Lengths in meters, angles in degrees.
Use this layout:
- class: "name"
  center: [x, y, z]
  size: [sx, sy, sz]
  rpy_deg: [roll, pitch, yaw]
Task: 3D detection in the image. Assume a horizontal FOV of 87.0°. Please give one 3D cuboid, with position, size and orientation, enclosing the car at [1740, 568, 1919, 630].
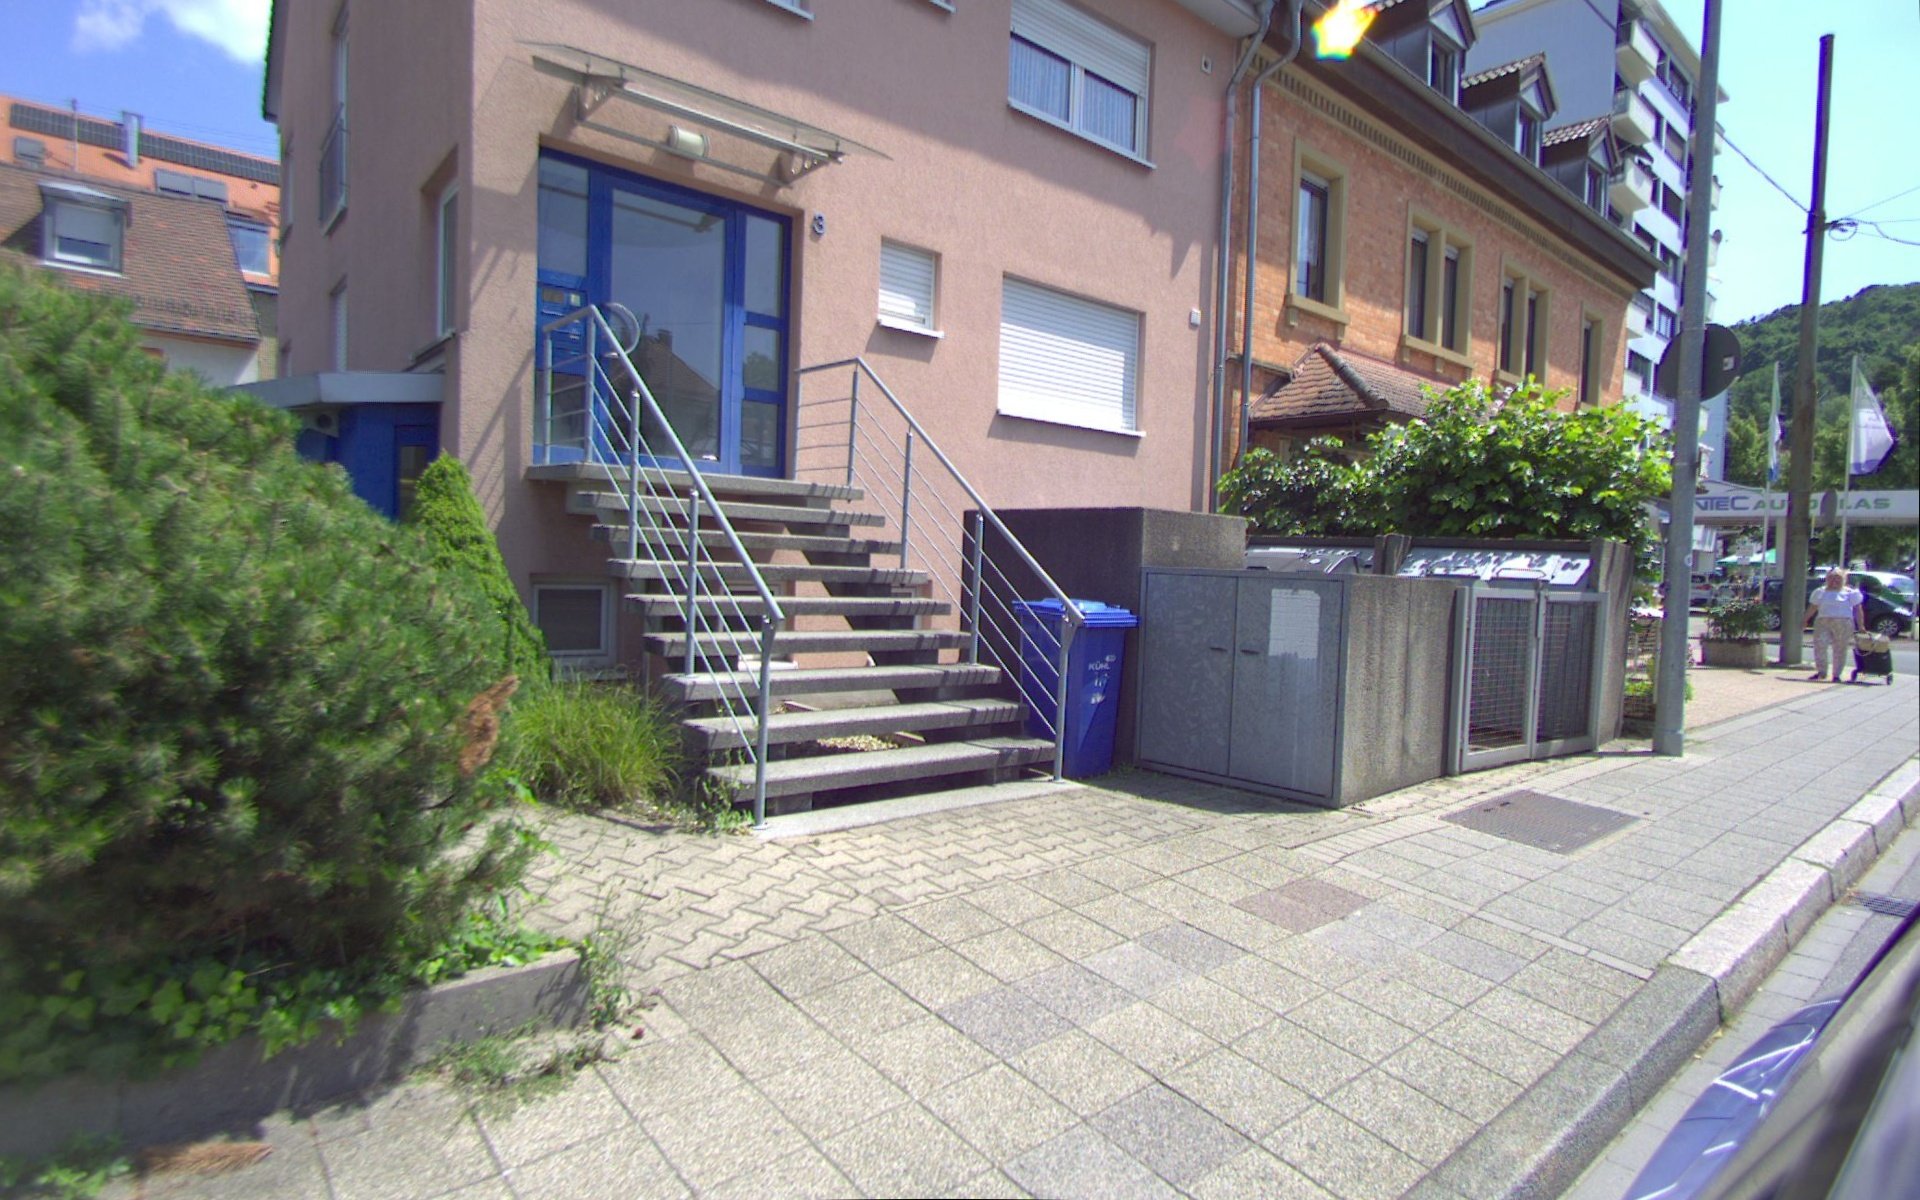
- class: "car"
  center: [25.029, -0.078, 29.239]
  size: [3.868, 1.561, 1.818]
  rpy_deg: [3, 4, 37]

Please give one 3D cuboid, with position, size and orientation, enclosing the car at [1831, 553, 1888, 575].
- class: "car"
  center: [85.738, -3.419, 96.452]
  size: [5.273, 2.038, 2.405]
  rpy_deg: [-2, 2, -29]

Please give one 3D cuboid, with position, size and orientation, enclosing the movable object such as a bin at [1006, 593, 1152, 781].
- class: "movable object such as a bin"
  center: [0.736, 0.499, 6.279]
  size: [0.656, 1.058, 0.623]
  rpy_deg: [-2, 2, -42]

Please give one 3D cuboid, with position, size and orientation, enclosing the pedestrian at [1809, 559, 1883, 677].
- class: "pedestrian"
  center: [13.072, 0.251, 14.954]
  size: [0.704, 1.661, 0.650]
  rpy_deg: [5, 2, 40]

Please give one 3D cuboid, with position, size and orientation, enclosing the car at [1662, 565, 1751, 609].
- class: "car"
  center: [29.879, -0.544, 40.445]
  size: [4.621, 1.646, 1.750]
  rpy_deg: [-1, 3, -40]

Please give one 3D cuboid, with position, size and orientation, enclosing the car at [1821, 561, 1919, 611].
- class: "car"
  center: [35.986, -0.570, 39.049]
  size: [1.788, 1.811, 4.292]
  rpy_deg: [-1, 2, -1]
